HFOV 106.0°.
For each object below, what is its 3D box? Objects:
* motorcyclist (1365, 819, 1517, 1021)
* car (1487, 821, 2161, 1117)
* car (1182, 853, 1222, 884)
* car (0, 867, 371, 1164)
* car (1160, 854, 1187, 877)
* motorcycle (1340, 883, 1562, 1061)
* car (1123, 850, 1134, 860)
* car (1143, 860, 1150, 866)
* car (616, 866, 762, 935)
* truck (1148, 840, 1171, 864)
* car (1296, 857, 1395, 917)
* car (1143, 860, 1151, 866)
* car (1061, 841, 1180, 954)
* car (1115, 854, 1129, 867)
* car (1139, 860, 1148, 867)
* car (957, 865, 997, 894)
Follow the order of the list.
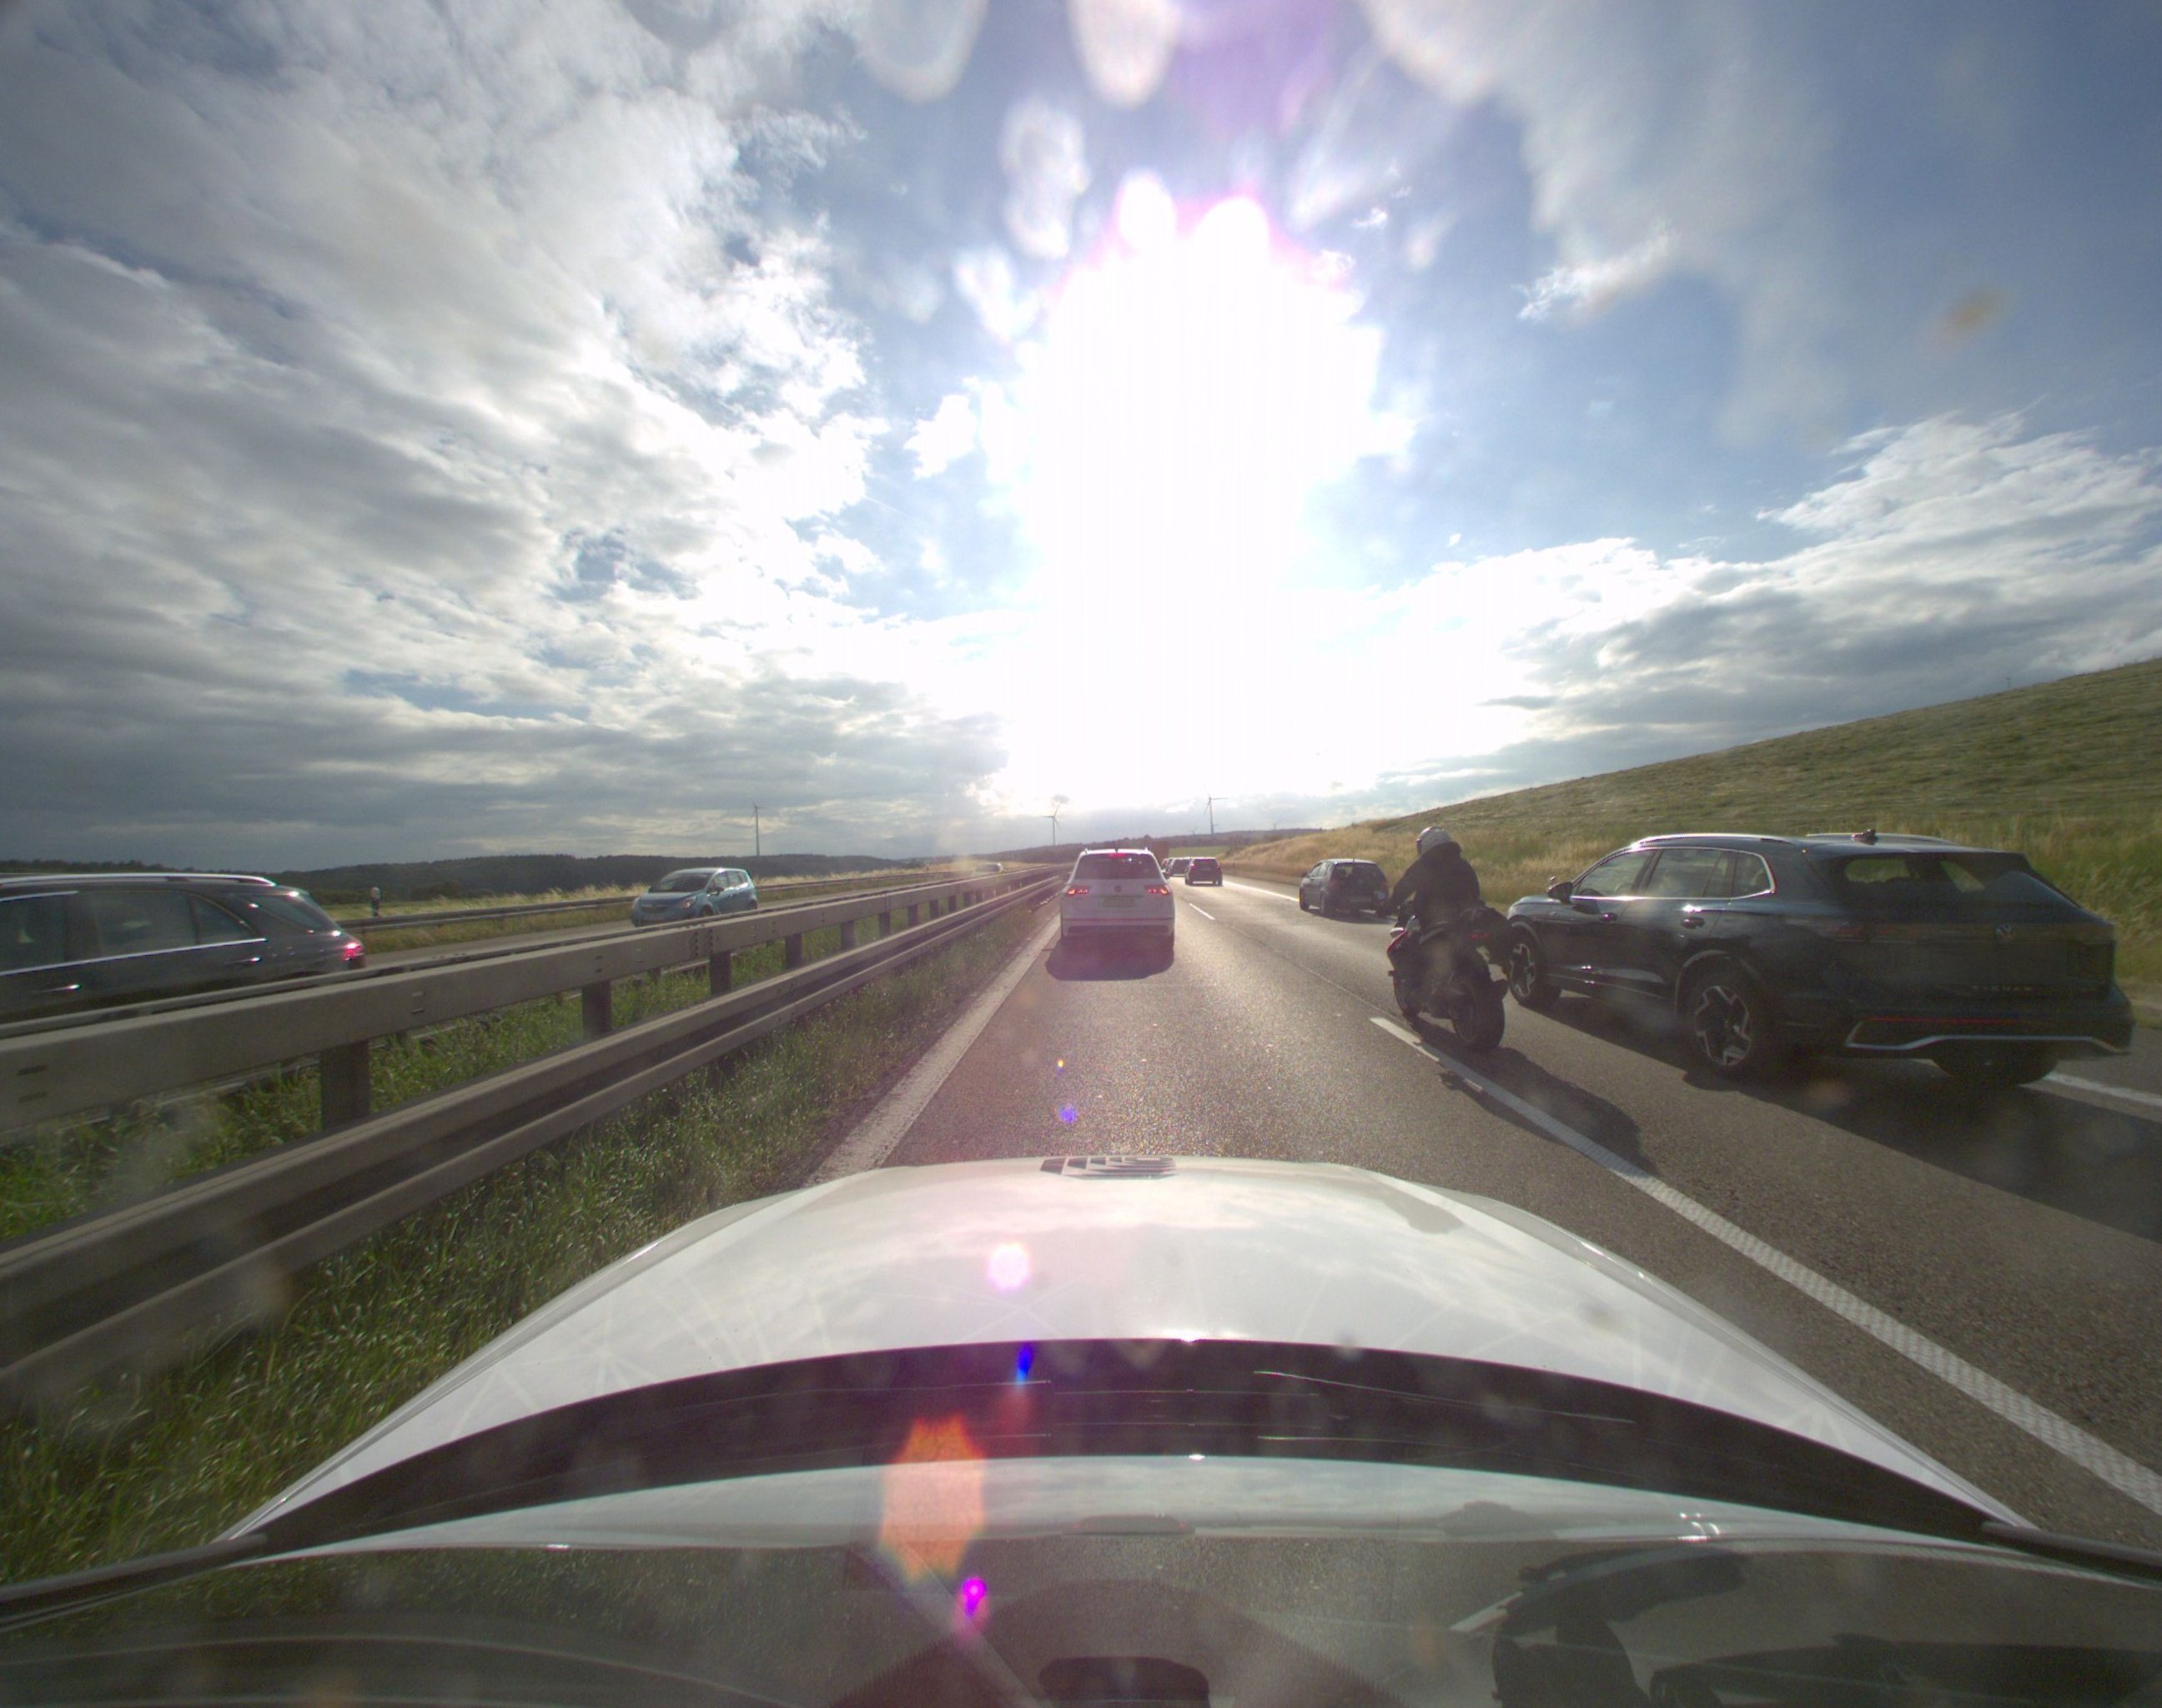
[{"bbox_3d":[2.974,0.518,6.831,0.846,1.560,0.934,-1,-1,1],"label":"motorcyclist"},{"bbox_3d":[5.185,0.649,6.586,1.814,1.601,4.236,1,-1,2],"label":"car"},{"bbox_3d":[6.419,0.739,43.492,1.697,1.546,4.002,-1,-1,2],"label":"car"},{"bbox_3d":[-7.394,0.992,5.184,1.816,1.770,4.365,-1,-1,2],"label":"car"},{"bbox_3d":[7.061,0.892,62.517,1.697,1.650,4.002,-1,-1,2],"label":"car"},{"bbox_3d":[2.979,0.874,6.899,0.892,1.190,2.257,-1,-1,2],"label":"motorcycle"},{"bbox_3d":[7.664,0.229,131.865,1.697,1.546,4.002,-1,-1,2],"label":"car"},{"bbox_3d":[16.880,2.366,210.282,1.697,1.546,4.002,-1,-1,2],"label":"car"},{"bbox_3d":[-10.185,1.146,21.541,1.728,1.588,4.119,-1,-1,2],"label":"car"},{"bbox_3d":[11.995,-0.323,125.583,3.170,3.594,11.142,-1,0,4],"label":"truck"},{"bbox_3d":[6.869,0.807,21.495,1.599,1.420,3.675,-1,-1,4],"label":"car"},{"bbox_3d":[16.467,2.306,203.951,1.697,1.546,4.002,-1,-1,2],"label":"car"},{"bbox_3d":[0.667,0.677,14.263,1.763,1.676,4.002,-1,-1,2],"label":"car"},{"bbox_3d":[5.080,0.830,102.031,1.697,1.650,4.002,-1,-1,2],"label":"car"},{"bbox_3d":[13.247,2.034,173.214,1.697,1.546,4.002,-1,-1,2],"label":"car"},{"bbox_3d":[-5.764,1.382,45.543,1.591,1.515,4.161,-1,-1,2],"label":"car"}]
